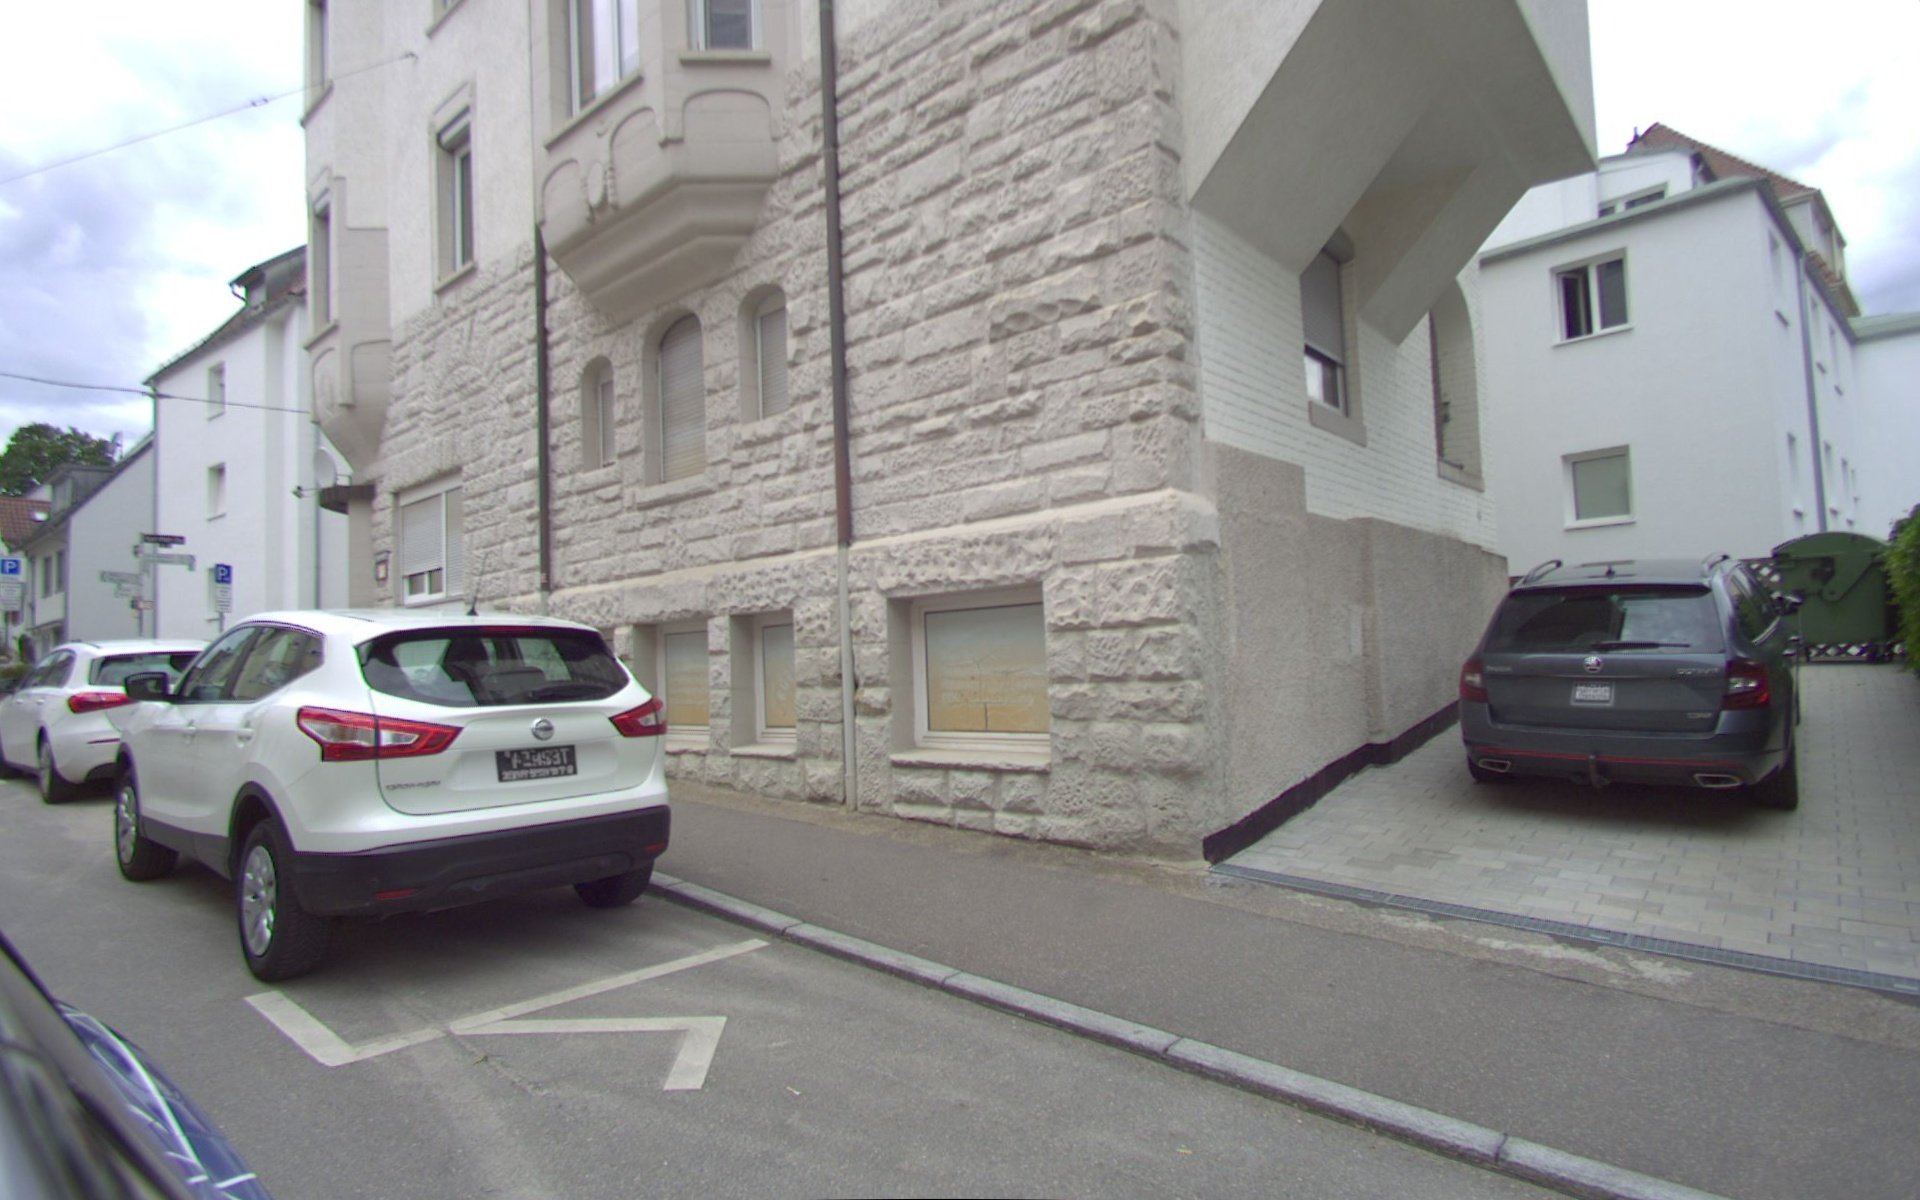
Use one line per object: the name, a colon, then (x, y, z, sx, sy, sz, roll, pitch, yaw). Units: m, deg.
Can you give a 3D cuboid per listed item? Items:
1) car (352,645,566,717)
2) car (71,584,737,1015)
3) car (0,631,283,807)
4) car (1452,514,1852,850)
car: (-11.919, 1.910, 24.253, 1.827, 1.402, 4.235, -7, -5, 44)
car: (-3.320, 0.812, 5.675, 4.236, 1.527, 1.826, -3, -3, 39)
car: (-8.568, 1.074, 10.259, 4.236, 1.425, 1.682, -3, -3, 39)
car: (4.842, 0.317, 6.852, 1.658, 1.514, 3.625, -2, 4, 43)
